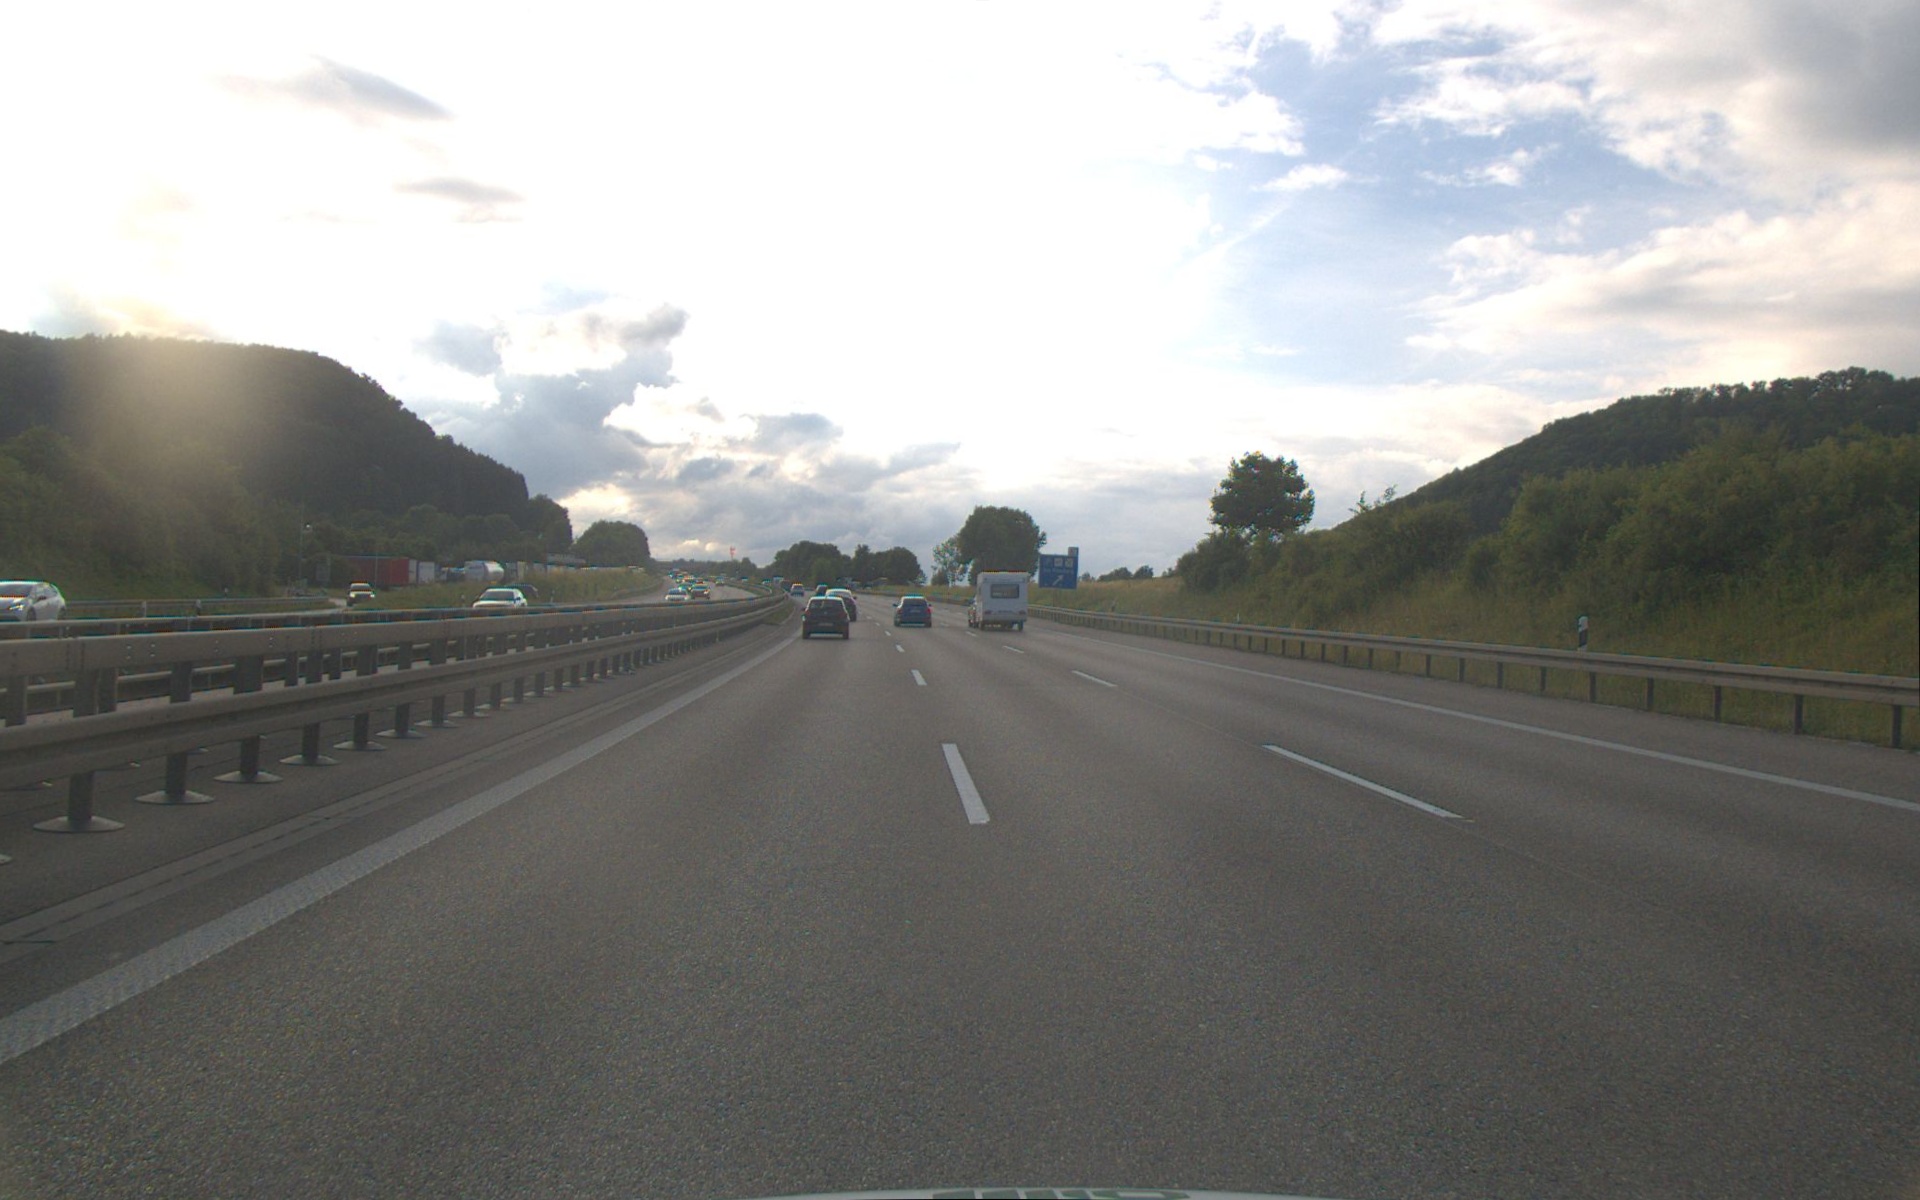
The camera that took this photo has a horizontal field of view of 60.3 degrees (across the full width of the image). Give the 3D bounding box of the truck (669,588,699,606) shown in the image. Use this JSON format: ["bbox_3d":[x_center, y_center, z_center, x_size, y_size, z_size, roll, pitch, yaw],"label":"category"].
[{"bbox_3d":[-21.317,-0.244,127.913,1.955,1.389,4.640,1,0,-6],"label":"truck"}]

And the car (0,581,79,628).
[{"bbox_3d":[-29.144,0.135,51.474,1.727,1.382,4.373,-1,0,-10],"label":"car"}]

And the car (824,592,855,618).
[{"bbox_3d":[-6.708,0.277,91.665,1.535,1.404,3.994,-1,0,-7],"label":"car"}]

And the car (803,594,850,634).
[{"bbox_3d":[-4.719,0.502,58.837,1.507,1.371,3.675,0,-1,-2],"label":"car"}]

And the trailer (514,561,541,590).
[{"bbox_3d":[-59.221,-3.318,226.696,2.826,3.761,13.637,-1,0,-11],"label":"trailer"}]

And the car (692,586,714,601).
[{"bbox_3d":[-27.203,-0.642,174.947,1.955,1.523,4.687,-1,0,-5],"label":"car"}]

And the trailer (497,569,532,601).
[{"bbox_3d":[-55.061,-1.805,204.650,2.824,3.761,13.647,0,0,-9],"label":"trailer"}]

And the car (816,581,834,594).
[{"bbox_3d":[-18.350,-1.685,224.902,1.917,1.601,4.000,1,-1,2],"label":"car"}]

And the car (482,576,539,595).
[{"bbox_3d":[-37.716,-1.245,138.769,4.530,1.578,1.991,0,0,-17],"label":"car"}]

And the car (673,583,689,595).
[{"bbox_3d":[-36.578,-1.430,217.142,1.957,1.523,4.682,-1,0,-9],"label":"car"}]

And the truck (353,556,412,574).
[{"bbox_3d":[-67.817,-4.081,194.155,7.160,2.049,2.890,-1,0,35],"label":"truck"}]

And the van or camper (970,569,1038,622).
[{"bbox_3d":[1.936,-0.190,74.699,2.498,2.278,5.323,1,-1,-5],"label":"van or camper"}]

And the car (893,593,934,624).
[{"bbox_3d":[-2.291,0.400,80.173,1.732,1.458,3.995,-1,0,-5],"label":"car"}]

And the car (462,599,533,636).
[{"bbox_3d":[-20.290,0.779,72.750,1.952,1.512,3.999,-1,-2,0],"label":"car"}]

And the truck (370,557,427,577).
[{"bbox_3d":[-67.814,-3.996,199.833,7.161,2.265,2.890,1,1,35],"label":"truck"}]

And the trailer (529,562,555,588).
[{"bbox_3d":[-62.579,-3.761,247.574,2.824,3.760,10.352,0,1,-9],"label":"trailer"}]

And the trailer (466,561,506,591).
[{"bbox_3d":[-51.641,-2.545,180.579,2.531,2.903,12.238,1,-1,-8],"label":"trailer"}]
